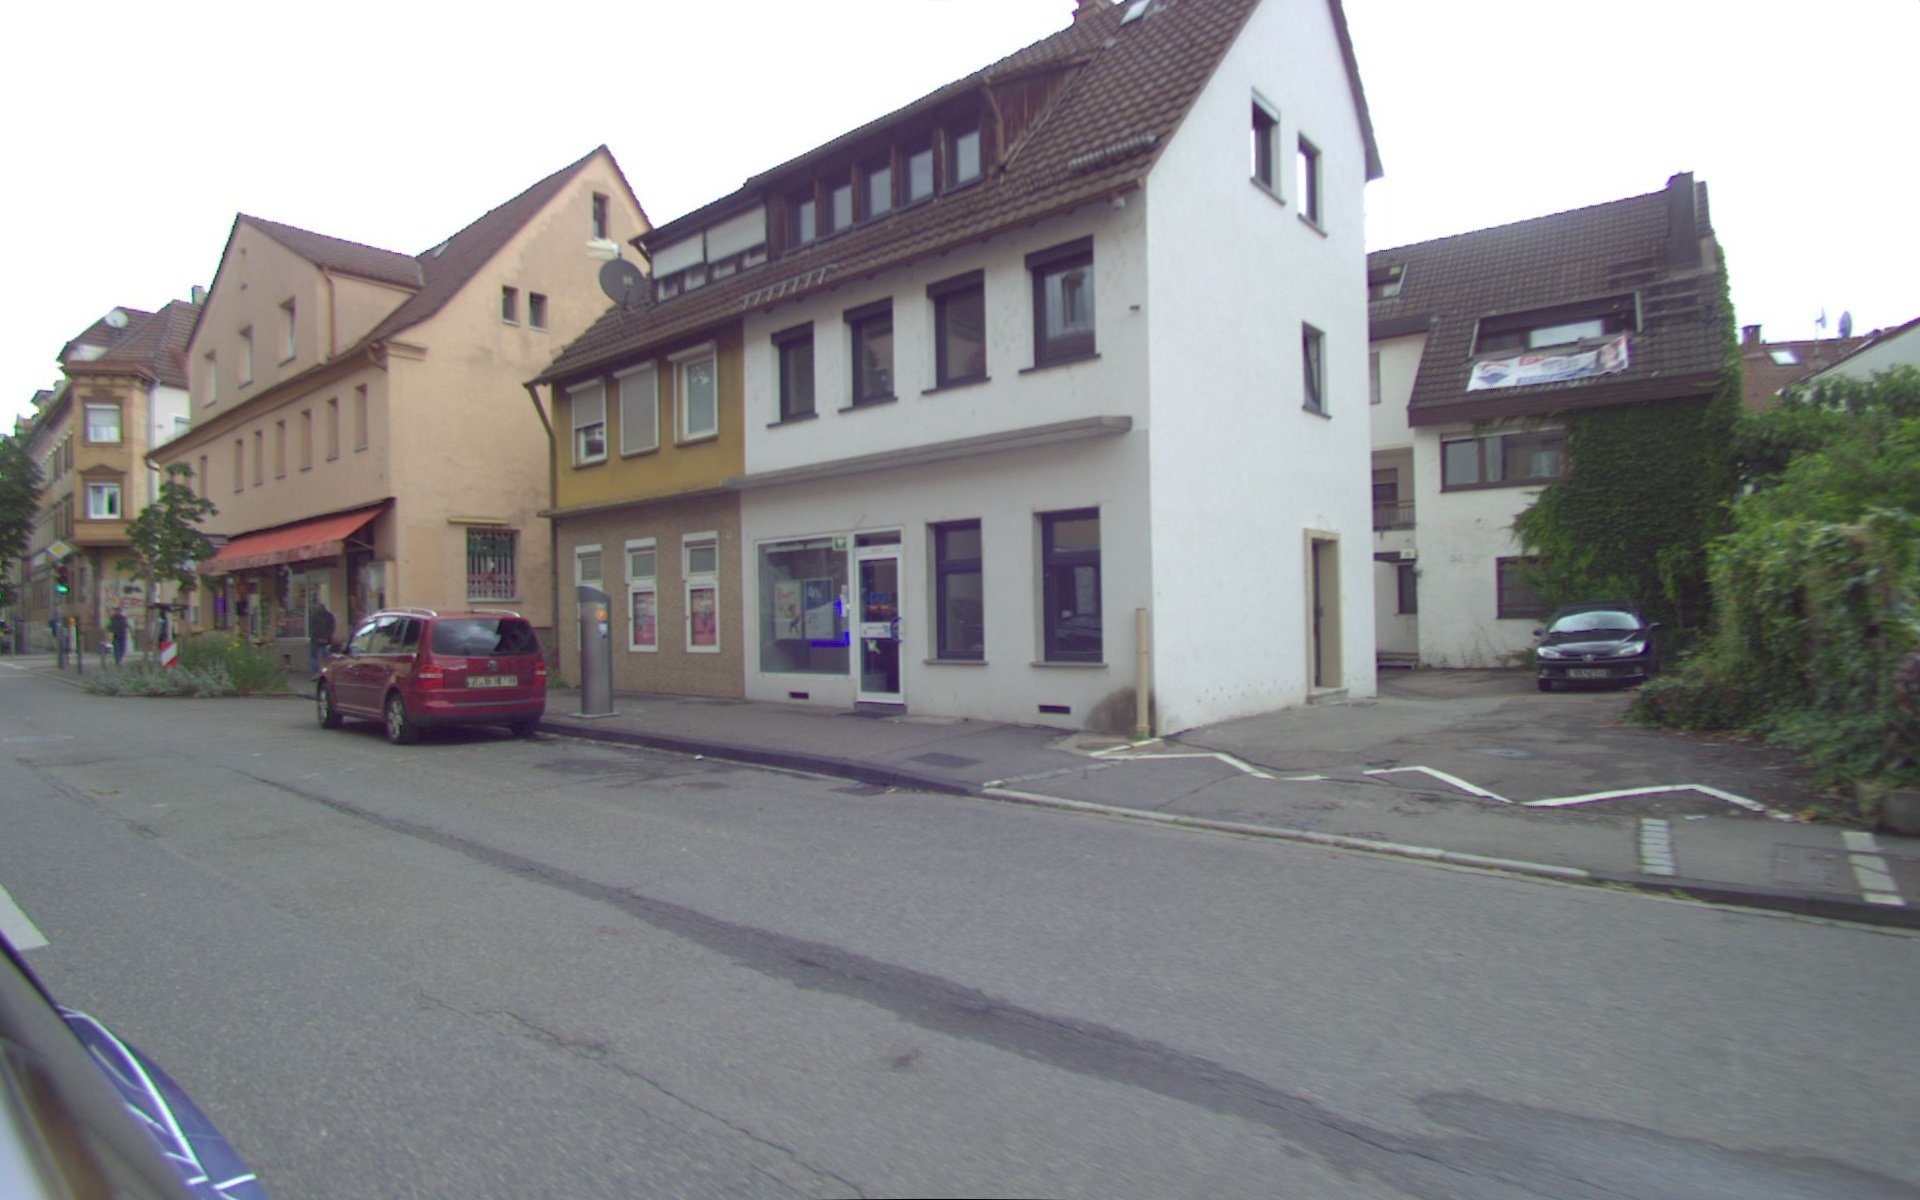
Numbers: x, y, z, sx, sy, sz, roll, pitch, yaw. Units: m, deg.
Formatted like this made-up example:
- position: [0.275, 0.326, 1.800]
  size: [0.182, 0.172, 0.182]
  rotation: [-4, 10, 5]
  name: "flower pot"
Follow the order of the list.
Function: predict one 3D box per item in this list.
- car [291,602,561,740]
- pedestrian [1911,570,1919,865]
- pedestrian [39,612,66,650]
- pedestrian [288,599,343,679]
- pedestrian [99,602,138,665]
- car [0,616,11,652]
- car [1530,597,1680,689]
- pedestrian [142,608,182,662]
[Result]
- position: [-7.337, 0.885, 13.713]
  size: [4.447, 1.586, 1.685]
  rotation: [-2, -3, 40]
  name: "car"
- position: [5.369, 0.620, 5.174]
  size: [0.696, 1.566, 0.565]
  rotation: [-1, 1, 41]
  name: "pedestrian"
- position: [-41.349, 1.405, 46.113]
  size: [1.155, 1.731, 0.731]
  rotation: [-2, 0, 39]
  name: "pedestrian"
- position: [-13.726, 0.815, 21.558]
  size: [0.757, 1.640, 0.723]
  rotation: [0, 2, 38]
  name: "pedestrian"
- position: [-24.421, 0.962, 29.374]
  size: [0.982, 1.767, 0.731]
  rotation: [-2, -1, 42]
  name: "pedestrian"
- position: [-47.812, 1.638, 49.323]
  size: [4.740, 1.725, 1.870]
  rotation: [-1, -3, 43]
  name: "car"
- position: [11.205, 0.697, 17.469]
  size: [1.807, 1.364, 3.950]
  rotation: [-5, -3, 37]
  name: "car"
- position: [-23.303, 1.014, 29.545]
  size: [0.982, 1.546, 0.731]
  rotation: [-2, 0, 40]
  name: "pedestrian"
